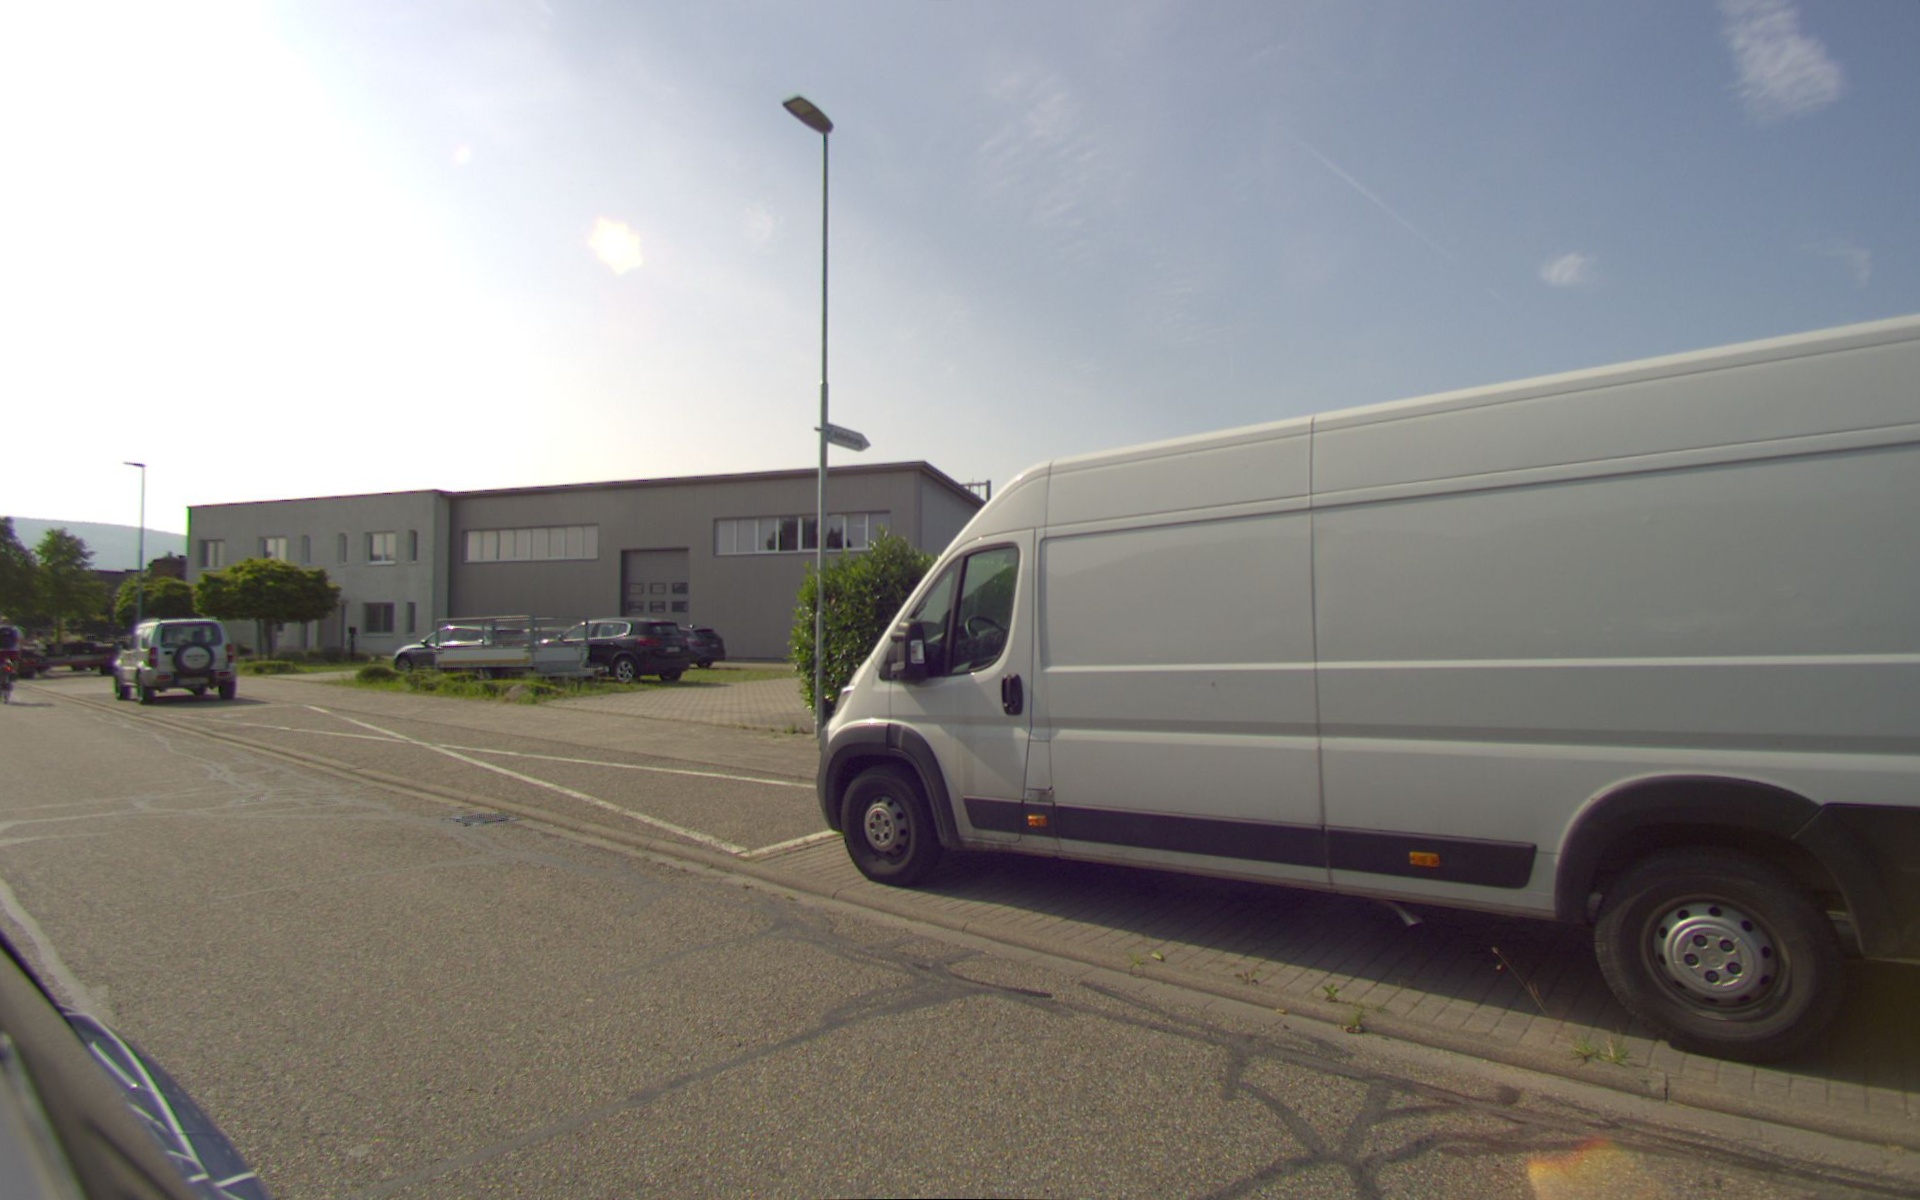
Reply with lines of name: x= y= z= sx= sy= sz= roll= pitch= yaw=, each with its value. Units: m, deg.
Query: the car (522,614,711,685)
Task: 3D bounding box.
car: x=-8.737 y=1.232 z=25.733 sx=4.394 sy=1.671 sz=1.980 roll=-1 pitch=-2 yaw=24

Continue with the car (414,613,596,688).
car: x=-10.597 y=1.134 z=23.560 sx=3.794 sy=1.584 sz=1.824 roll=-1 pitch=0 yaw=24

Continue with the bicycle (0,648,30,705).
bicycle: x=-20.021 y=1.562 z=21.048 sx=2.218 sy=1.131 sz=0.708 roll=-2 pitch=-5 yaw=41

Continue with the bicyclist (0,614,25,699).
bicyclist: x=-20.028 y=1.172 z=21.087 sx=1.165 sy=1.732 sz=0.632 roll=-2 pitch=-3 yaw=41

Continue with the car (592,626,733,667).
car: x=-10.045 y=1.546 z=34.225 sx=4.320 sy=1.335 sz=1.981 roll=-1 pitch=-2 yaw=22

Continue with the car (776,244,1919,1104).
car: x=2.065 y=0.253 z=5.081 sx=6.495 sy=2.614 sz=2.082 roll=-2 pitch=0 yaw=38

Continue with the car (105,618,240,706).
car: x=-16.609 y=1.255 z=21.296 sx=3.642 sy=1.663 sz=1.580 roll=-2 pitch=-2 yaw=41

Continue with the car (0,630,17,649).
car: x=-96.642 y=3.924 z=100.502 sx=1.985 sy=1.807 sz=3.974 roll=-1 pitch=-2 yaw=19

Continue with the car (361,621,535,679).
car: x=-14.108 y=1.337 z=27.893 sx=4.394 sy=1.487 sz=1.966 roll=-1 pitch=-2 yaw=24

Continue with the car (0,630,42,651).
car: x=-79.795 y=3.351 z=84.889 sx=1.999 sy=1.741 sz=3.945 roll=-2 pitch=-3 yaw=41

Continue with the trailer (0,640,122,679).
trailer: x=-30.891 y=1.933 z=34.157 sx=9.726 sy=1.082 sz=2.519 roll=-2 pitch=-1 yaw=41
